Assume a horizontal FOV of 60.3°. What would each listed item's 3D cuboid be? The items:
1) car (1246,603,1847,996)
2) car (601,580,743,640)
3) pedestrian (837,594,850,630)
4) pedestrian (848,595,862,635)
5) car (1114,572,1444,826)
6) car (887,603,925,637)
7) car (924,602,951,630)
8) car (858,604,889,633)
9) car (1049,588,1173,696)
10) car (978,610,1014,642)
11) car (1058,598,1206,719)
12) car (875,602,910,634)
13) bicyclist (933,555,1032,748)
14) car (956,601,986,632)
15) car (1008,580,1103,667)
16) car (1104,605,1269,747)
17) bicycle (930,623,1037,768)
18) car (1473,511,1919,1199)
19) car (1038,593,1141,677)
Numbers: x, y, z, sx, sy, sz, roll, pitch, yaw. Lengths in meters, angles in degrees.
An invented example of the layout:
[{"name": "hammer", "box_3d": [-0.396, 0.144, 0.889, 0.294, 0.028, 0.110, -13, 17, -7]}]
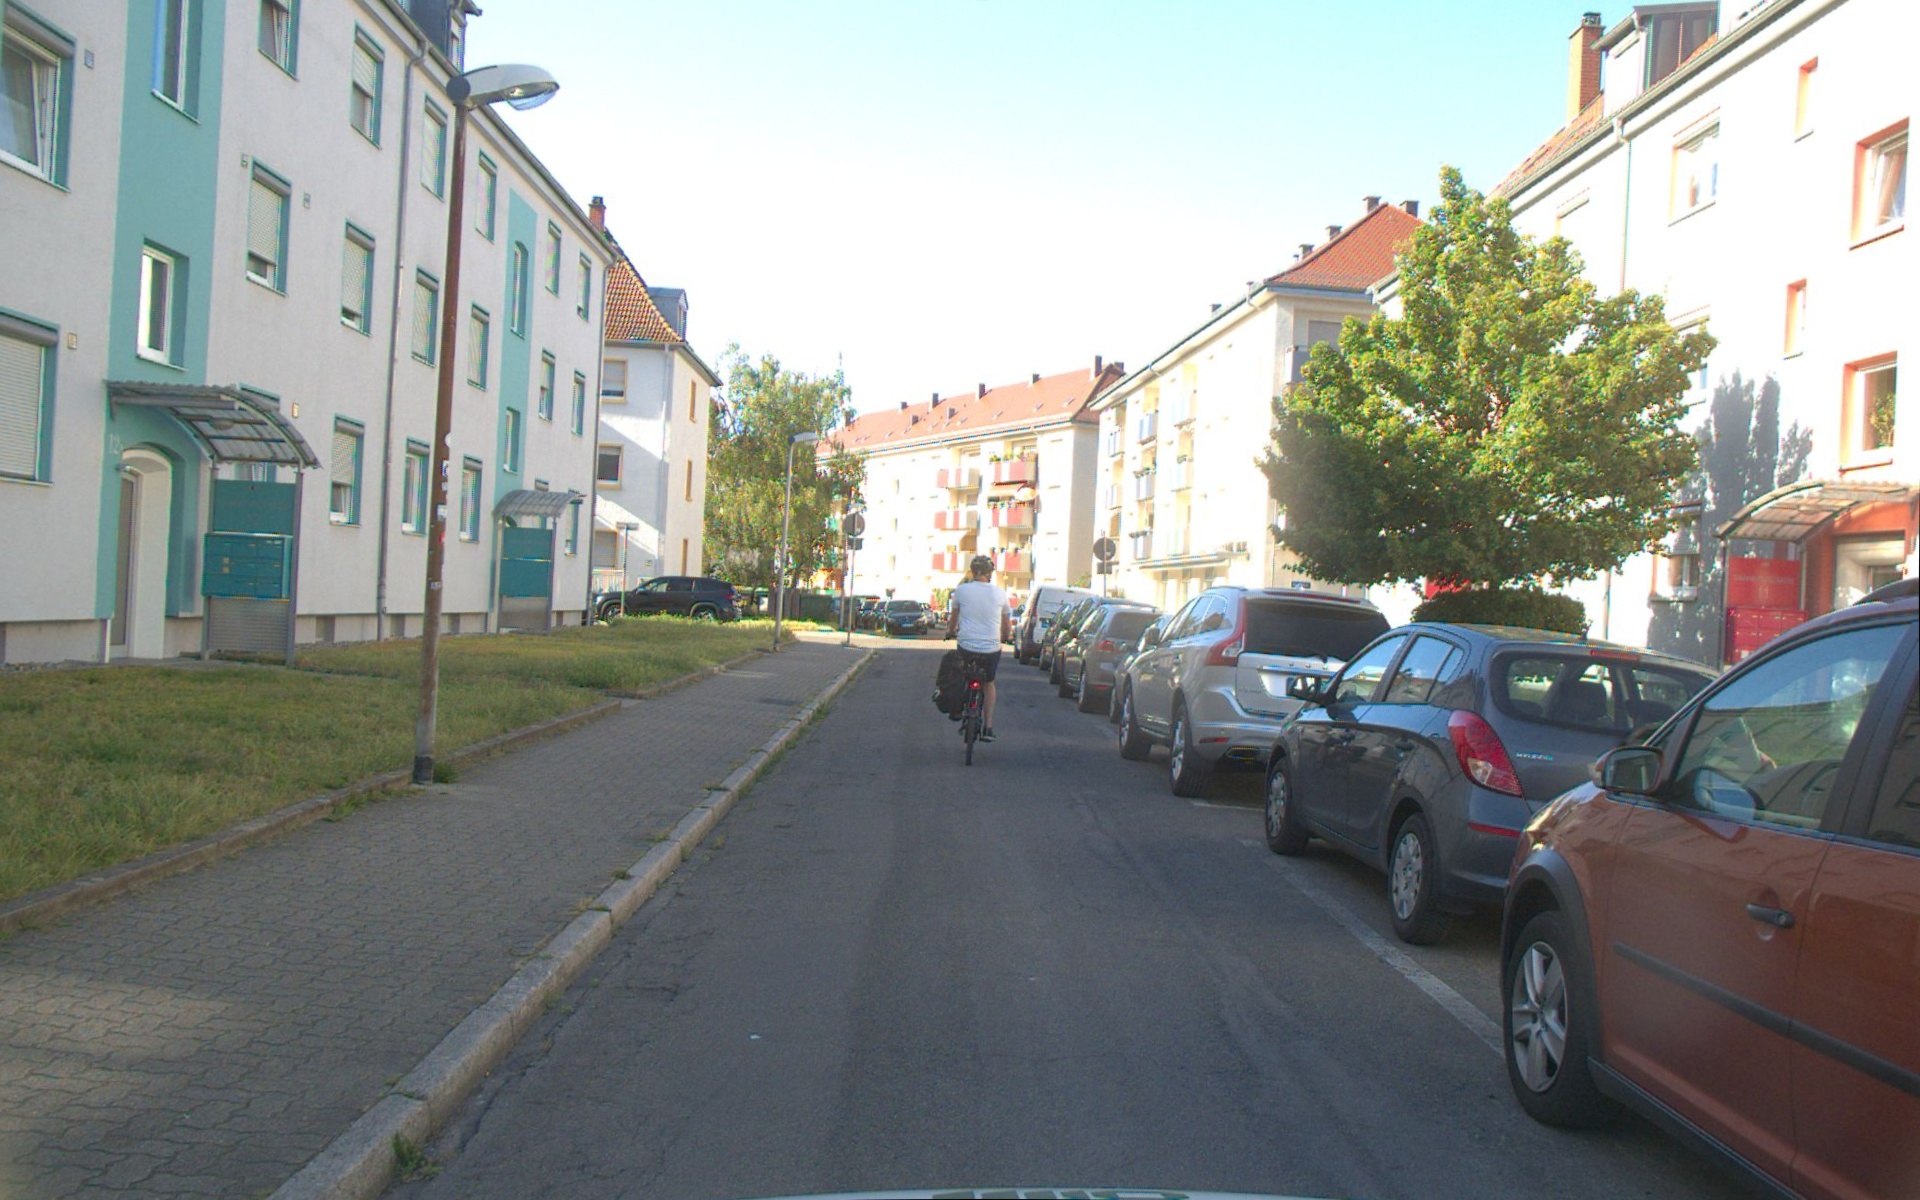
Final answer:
[{"name": "car", "box_3d": [2.829, 0.857, 8.929, 1.586, 1.485, 3.838, 5, 0, -3]}, {"name": "car", "box_3d": [-8.907, 0.300, 51.402, 4.149, 1.667, 1.581, 3, 0, -5]}, {"name": "pedestrian", "box_3d": [-4.681, 0.481, 66.539, 0.425, 1.452, 0.543, 3, 0, -1]}, {"name": "pedestrian", "box_3d": [-4.218, 0.608, 66.596, 0.425, 1.601, 0.543, 3, 0, -1]}, {"name": "car", "box_3d": [2.500, 0.694, 14.053, 1.667, 1.699, 4.377, 4, 0, -3]}, {"name": "car", "box_3d": [-2.315, 0.842, 70.508, 1.441, 1.358, 3.137, -1, 0, -5]}, {"name": "car", "box_3d": [-1.373, 0.933, 99.655, 1.440, 1.542, 3.075, 4, 0, -3]}, {"name": "car", "box_3d": [-4.279, 0.911, 81.483, 1.440, 1.358, 3.138, -1, 0, -4]}, {"name": "car", "box_3d": [2.487, 0.659, 27.883, 1.528, 1.604, 3.364, 4, 0, -3]}, {"name": "car", "box_3d": [1.750, 1.245, 80.156, 1.440, 1.358, 3.139, 4, 0, -3]}, {"name": "car", "box_3d": [2.342, 0.749, 23.305, 1.527, 1.436, 3.932, 4, 0, -1]}, {"name": "car", "box_3d": [-3.060, 0.794, 74.864, 1.440, 1.358, 3.138, -1, 0, -5]}, {"name": "bicyclist", "box_3d": [0.193, 0.454, 14.978, 0.792, 1.672, 0.898, 2, 0, -3]}, {"name": "car", "box_3d": [0.563, 0.856, 86.994, 1.354, 1.523, 3.075, 4, 0, -3]}, {"name": "car", "box_3d": [2.123, 0.495, 37.683, 1.641, 1.769, 3.940, 4, 0, -3]}, {"name": "car", "box_3d": [2.589, 0.825, 19.455, 1.363, 1.427, 3.243, 3, 0, -1]}, {"name": "bicycle", "box_3d": [0.179, 0.820, 14.967, 0.792, 1.148, 2.100, 2, 0, -3]}, {"name": "car", "box_3d": [2.733, 0.761, 3.471, 1.825, 1.697, 4.126, 6, 0, -1]}, {"name": "car", "box_3d": [2.523, 0.651, 32.851, 1.528, 1.478, 3.364, 4, 0, -3]}]
